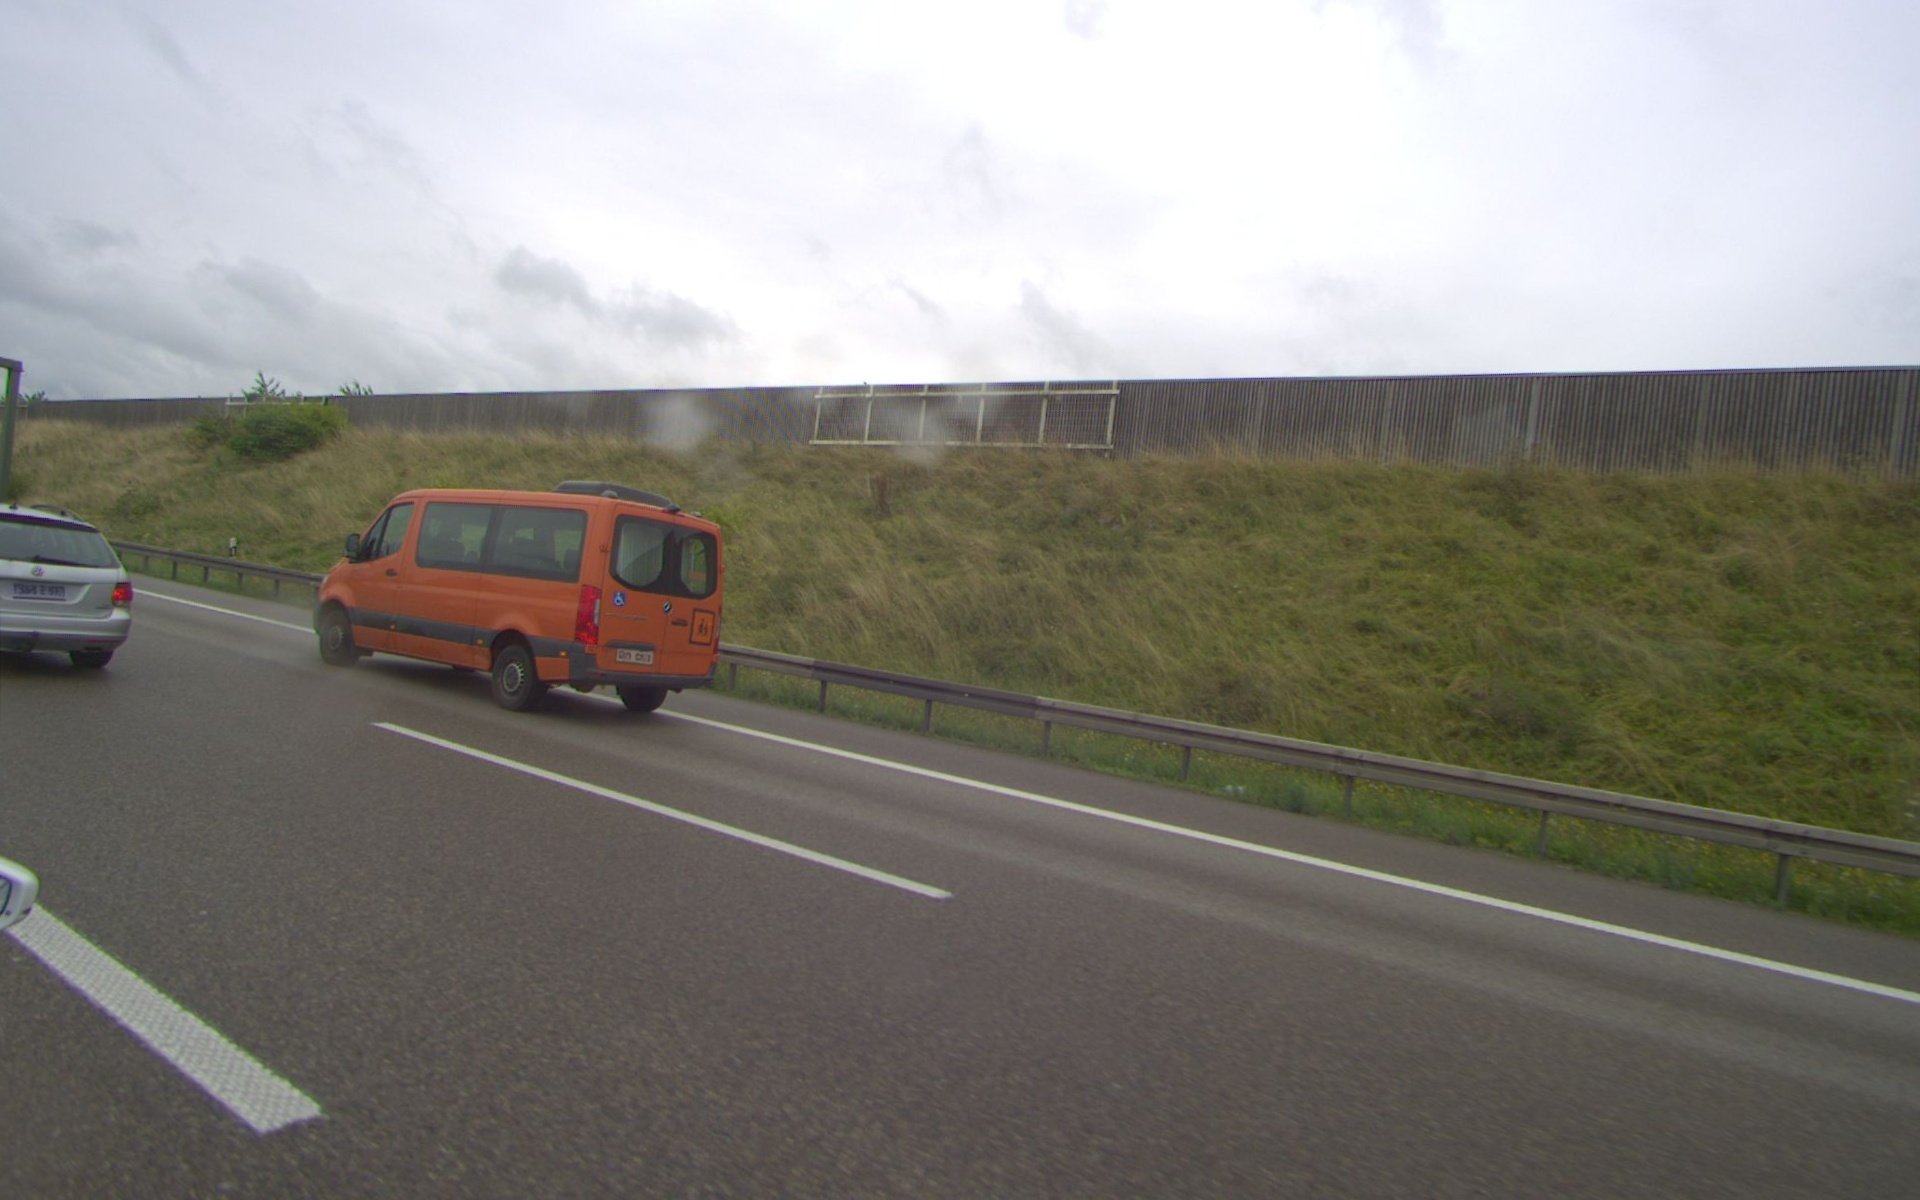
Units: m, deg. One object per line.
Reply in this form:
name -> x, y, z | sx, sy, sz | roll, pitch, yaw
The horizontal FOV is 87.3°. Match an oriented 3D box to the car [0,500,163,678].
car -> -9.712, -0.282, 9.639 | 4.441, 1.442, 1.744 | 7, 0, 31

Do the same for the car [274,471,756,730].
car -> -5.636, -0.105, 12.385 | 6.077, 2.343, 2.089 | 7, 0, 31

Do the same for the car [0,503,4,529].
car -> -23.061, -1.668, 22.278 | 3.811, 1.417, 1.706 | 6, -2, 32
